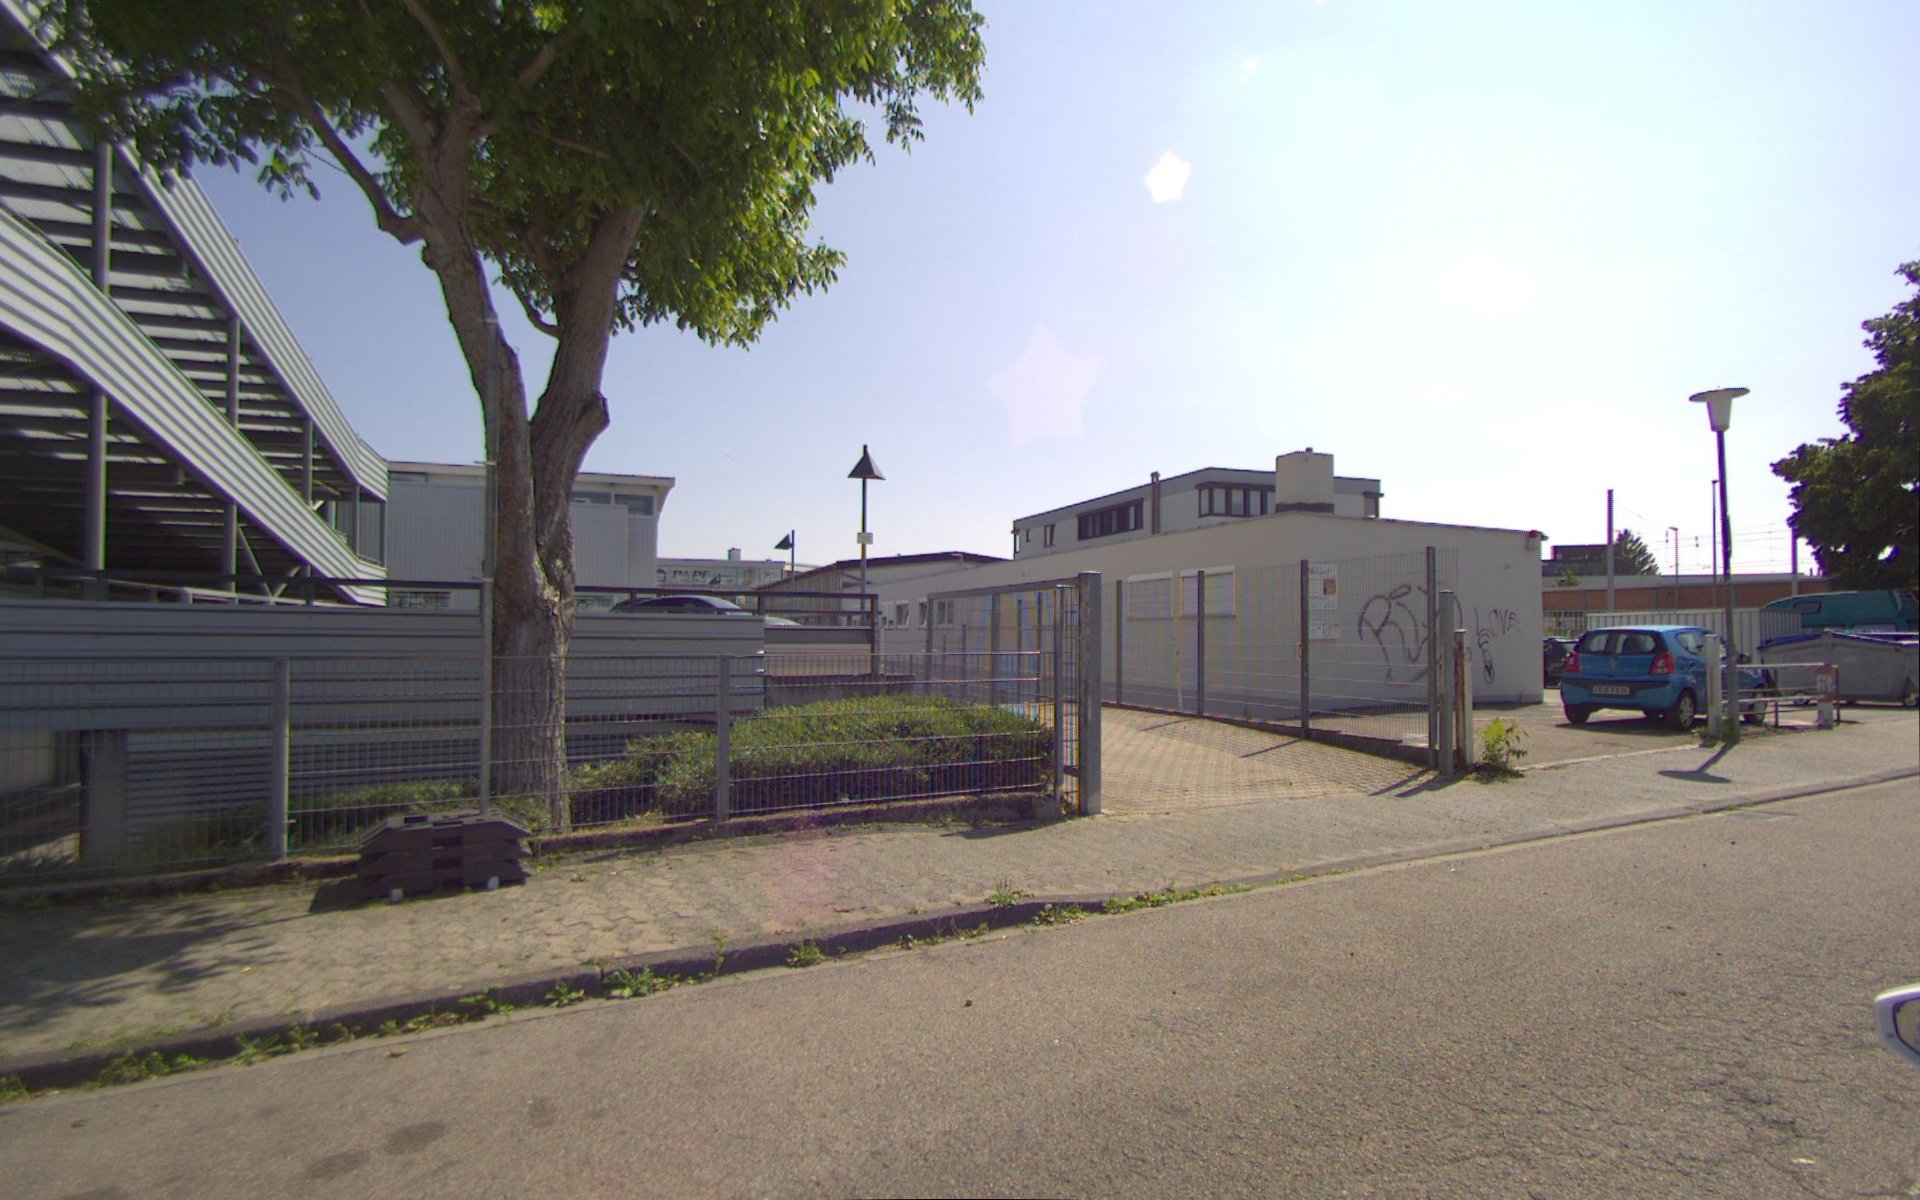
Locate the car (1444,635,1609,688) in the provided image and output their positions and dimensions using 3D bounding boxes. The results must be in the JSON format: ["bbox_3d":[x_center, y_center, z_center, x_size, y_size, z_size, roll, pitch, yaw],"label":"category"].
[{"bbox_3d":[17.172,1.847,30.657,1.730,1.474,4.130,1,-3,-26],"label":"car"}]

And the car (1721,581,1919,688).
[{"bbox_3d":[22.617,0.895,26.182,1.757,2.546,4.065,1,-2,-31],"label":"car"}]

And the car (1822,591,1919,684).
[{"bbox_3d":[27.006,1.048,28.086,1.757,2.546,4.065,1,-2,-31],"label":"car"}]

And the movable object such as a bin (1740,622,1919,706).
[{"bbox_3d":[17.885,1.235,20.122,2.690,1.530,2.620,1,-3,-24],"label":"movable object such as a bin"}]

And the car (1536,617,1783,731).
[{"bbox_3d":[10.778,1.089,15.459,3.634,1.550,1.805,1,-3,-32],"label":"car"}]

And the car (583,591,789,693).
[{"bbox_3d":[-5.921,0.958,22.044,3.920,2.039,2.001,-1,-4,2],"label":"car"}]
